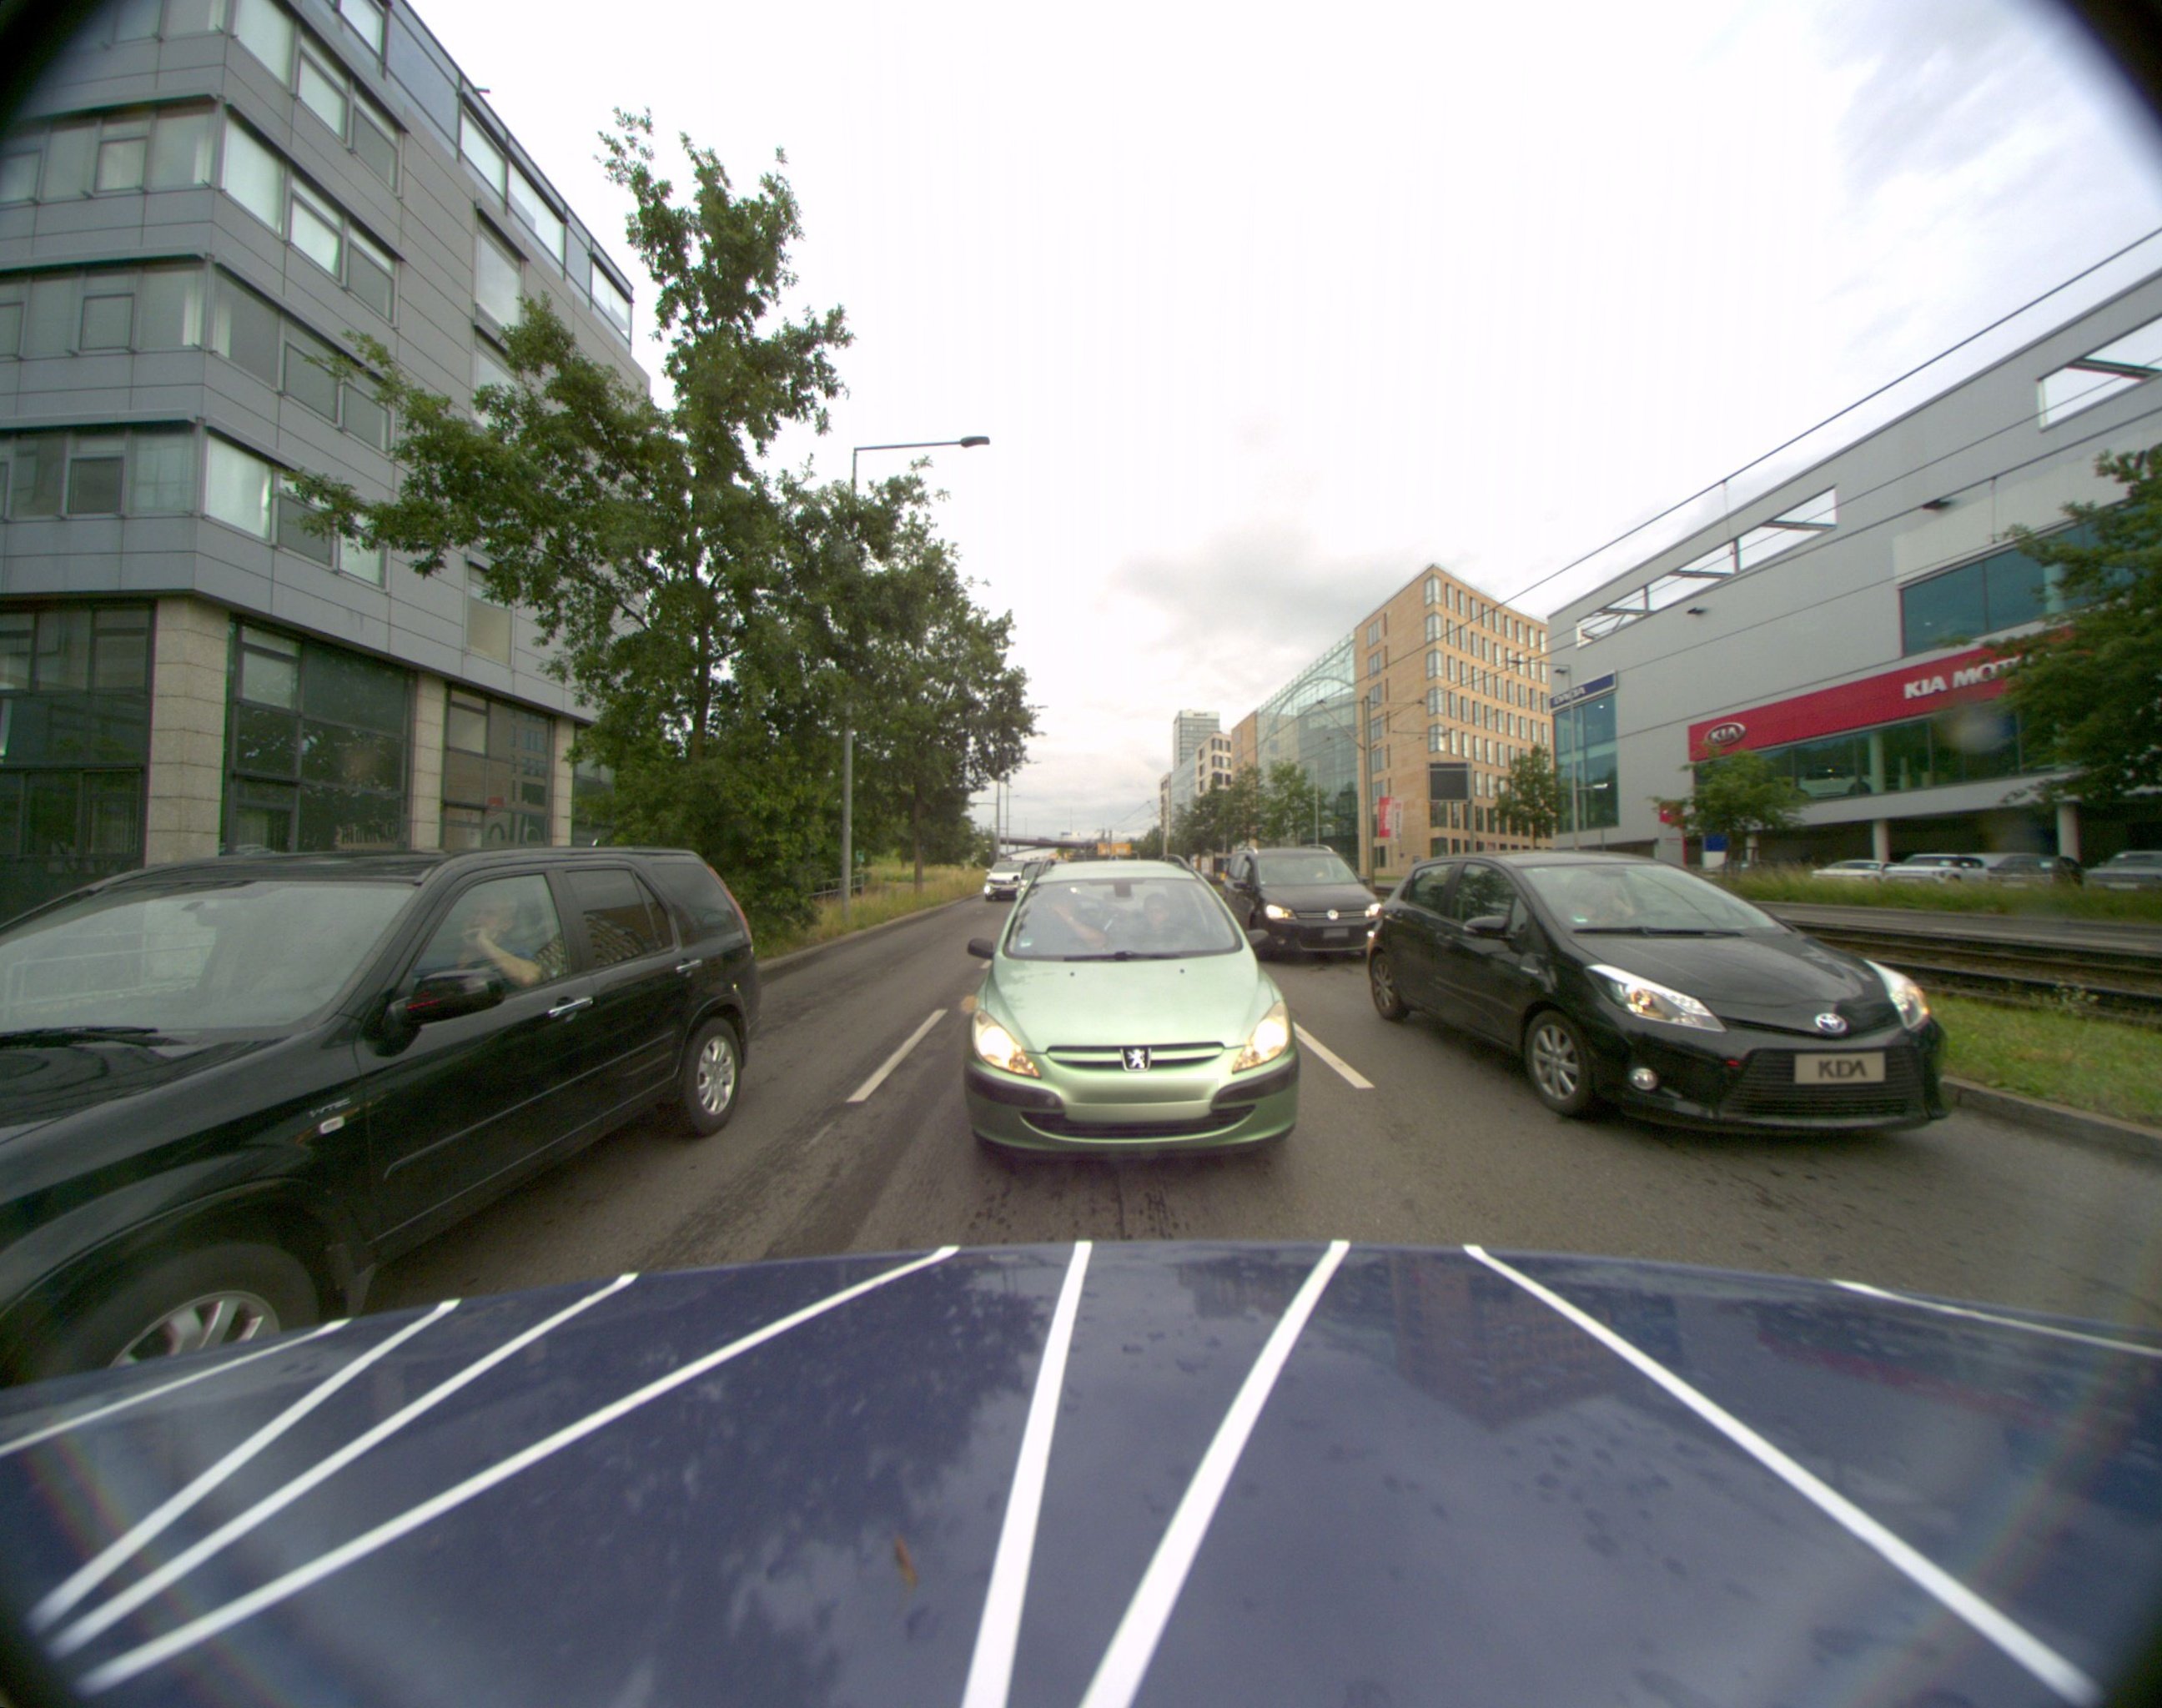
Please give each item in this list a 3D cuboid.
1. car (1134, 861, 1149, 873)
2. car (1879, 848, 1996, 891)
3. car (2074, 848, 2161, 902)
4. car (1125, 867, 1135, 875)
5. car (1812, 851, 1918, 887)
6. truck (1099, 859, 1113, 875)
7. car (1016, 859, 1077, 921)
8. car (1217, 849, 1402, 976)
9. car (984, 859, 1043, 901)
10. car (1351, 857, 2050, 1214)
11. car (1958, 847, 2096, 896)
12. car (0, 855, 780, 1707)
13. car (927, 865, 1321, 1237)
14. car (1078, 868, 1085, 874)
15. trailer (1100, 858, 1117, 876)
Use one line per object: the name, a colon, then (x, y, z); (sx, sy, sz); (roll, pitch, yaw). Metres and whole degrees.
car: (9.835, 2.097, 123.543); (1.999, 1.709, 4.840); (1, 0, -1)
car: (31.763, 0.560, 28.175); (3.668, 1.287, 1.696); (-4, 1, -22)
car: (32.035, 0.587, 22.833); (3.528, 1.344, 1.696); (-4, 1, -20)
car: (10.304, 3.557, 159.627); (1.589, 1.504, 4.100); (1, 0, -5)
car: (31.740, 0.575, 30.780); (3.668, 1.181, 1.696); (-4, 1, -22)
truck: (6.780, 3.437, 207.942); (3.144, 4.219, 7.026); (2, 0, -3)
car: (-0.991, 0.923, 20.844); (1.518, 1.495, 3.167); (-1, 0, -4)
car: (3.310, 0.746, 11.881); (1.786, 1.597, 4.318); (-1, 0, 3)
car: (-2.566, 0.971, 29.756); (1.827, 1.495, 3.766); (-1, 0, 2)
car: (3.429, 0.809, 5.274); (1.704, 1.523, 3.826); (-1, 0, -1)
car: (31.602, 0.568, 25.394); (3.528, 1.344, 1.696); (-4, 1, -17)
car: (-2.953, 0.853, 2.943); (1.759, 1.649, 4.338); (-1, 0, 1)
car: (0.175, 0.902, 5.534); (1.704, 1.523, 4.370); (-1, 0, -1)
car: (0.118, 5.309, 238.612); (1.655, 1.428, 3.876); (-2, 2, -6)
trailer: (7.175, 3.390, 200.606); (3.143, 4.304, 13.277); (2, 0, -3)
